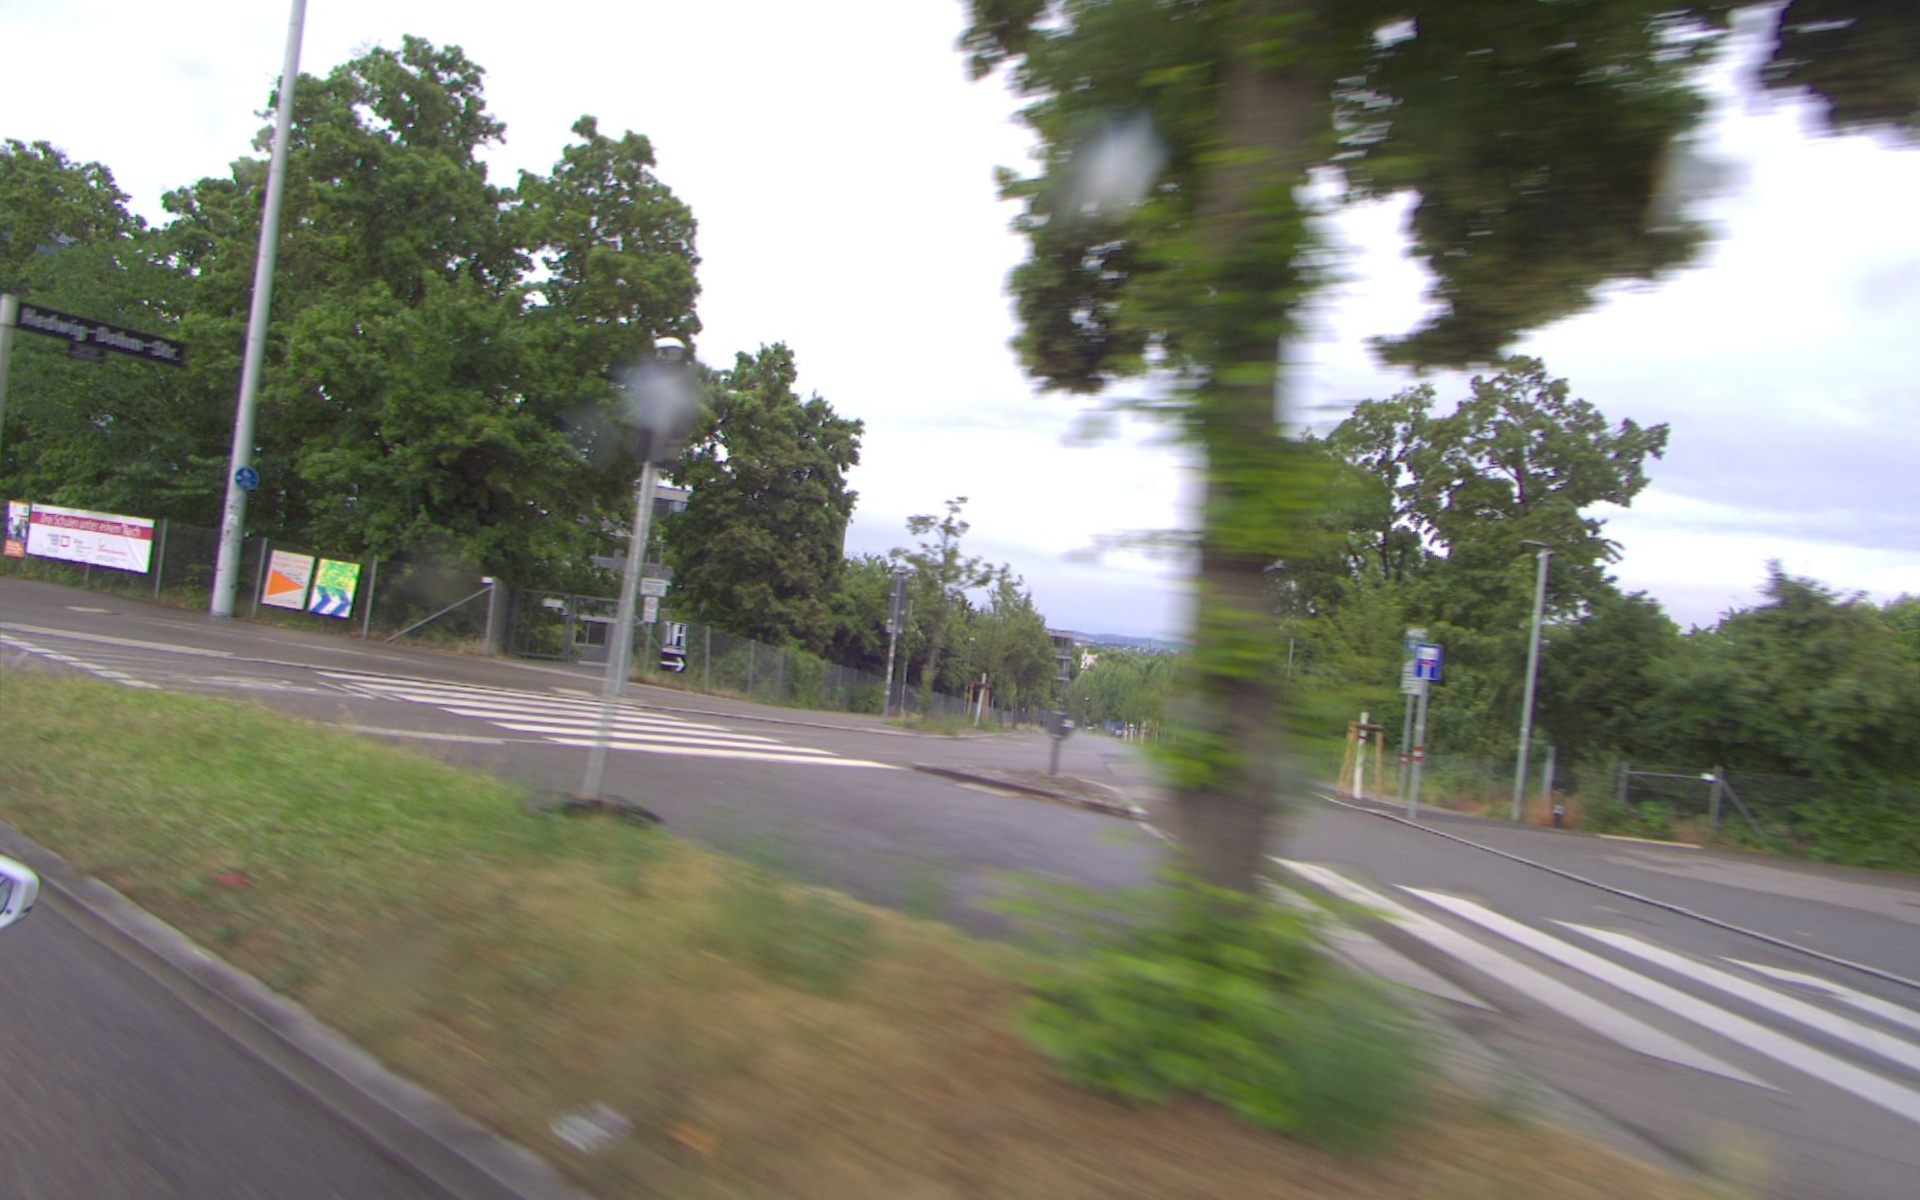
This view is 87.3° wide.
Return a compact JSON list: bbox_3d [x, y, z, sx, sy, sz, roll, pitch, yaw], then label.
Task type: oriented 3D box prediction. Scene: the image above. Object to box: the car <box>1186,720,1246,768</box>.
[{"bbox_3d":[12.100,6.800,47.839,1.962,1.800,4.095,8,-5,6],"label":"car"}]
